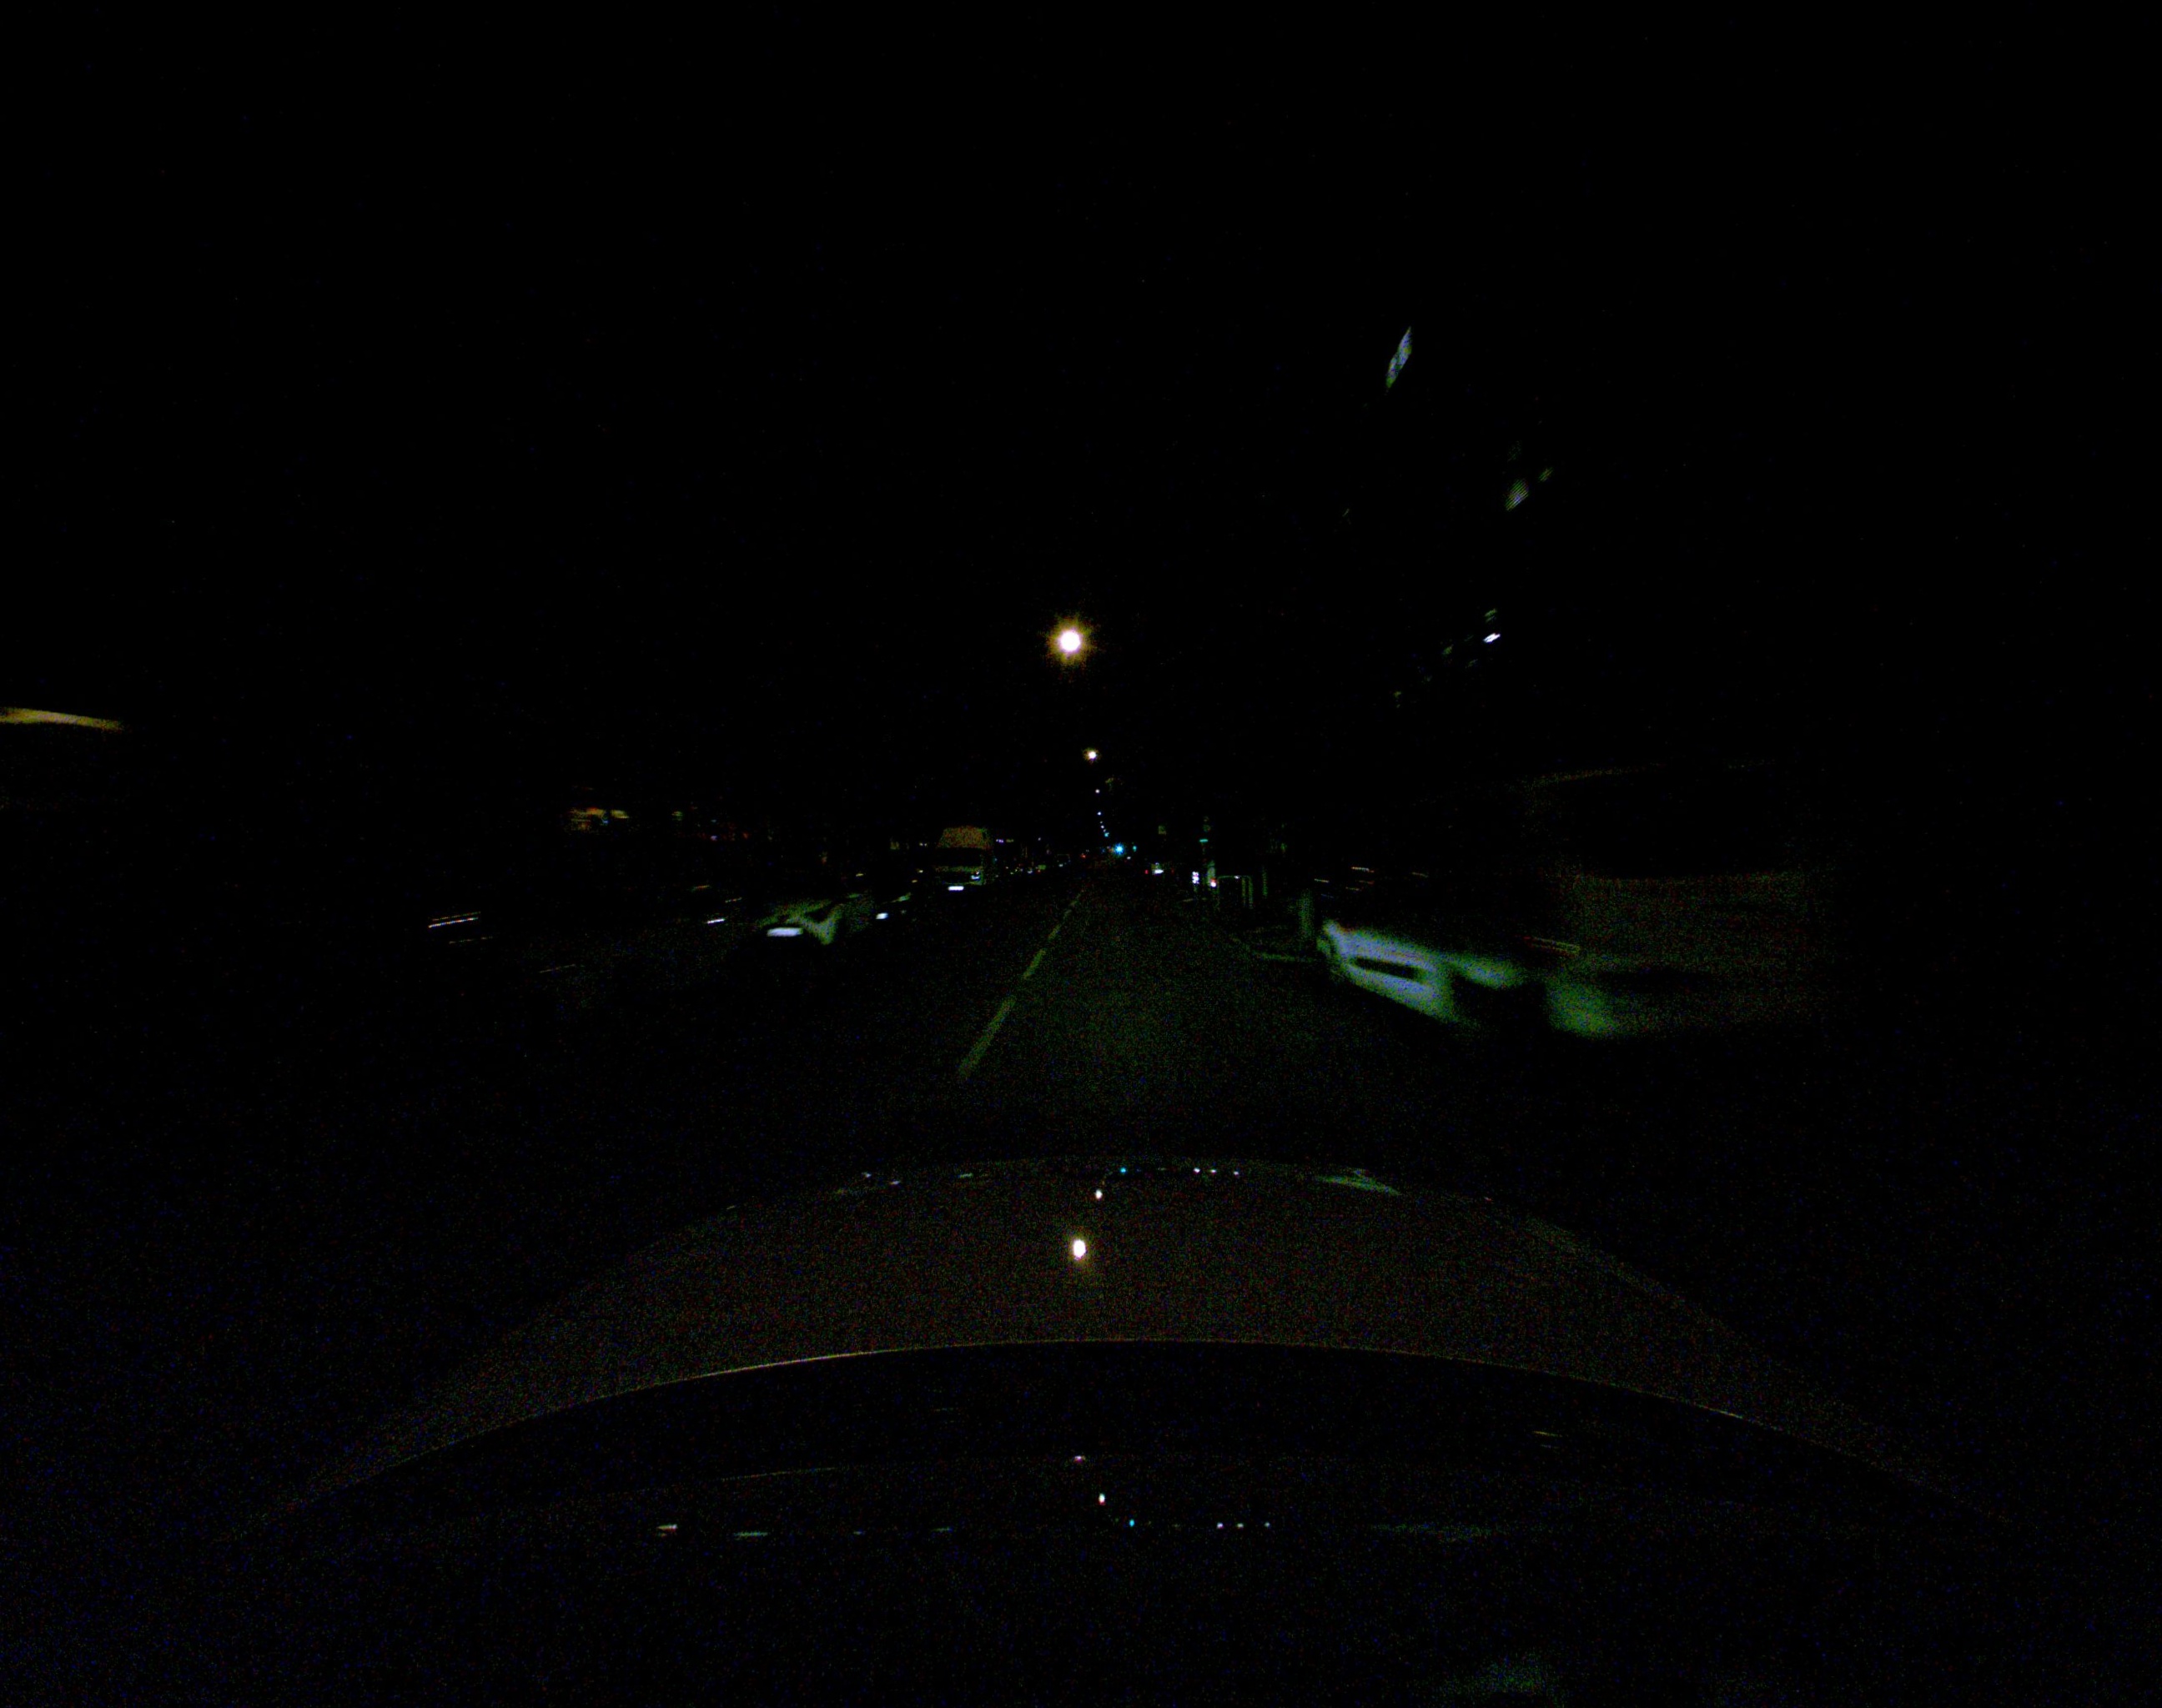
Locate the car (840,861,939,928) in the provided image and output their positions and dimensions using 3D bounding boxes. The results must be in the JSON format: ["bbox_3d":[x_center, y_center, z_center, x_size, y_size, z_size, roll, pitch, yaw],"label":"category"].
[{"bbox_3d":[-5.011,1.012,21.802,1.640,1.504,3.862,-1,1,1],"label":"car"}]

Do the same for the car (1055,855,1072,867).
[{"bbox_3d":[-2.126,0.826,98.896,1.693,1.433,3.831,1,0,3],"label":"car"}]

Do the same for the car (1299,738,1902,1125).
[{"bbox_3d":[3.407,0.406,6.672,1.944,1.964,4.603,-3,0,0],"label":"car"}]

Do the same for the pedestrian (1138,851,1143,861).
[{"bbox_3d":[10.459,0.390,142.708,0.702,1.721,0.822,-3,0,2],"label":"pedestrian"}]

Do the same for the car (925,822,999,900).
[{"bbox_3d":[-4.672,0.263,32.814,2.171,2.909,4.911,0,0,1],"label":"car"}]

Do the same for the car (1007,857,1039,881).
[{"bbox_3d":[-3.811,0.946,54.362,1.710,1.502,4.206,1,0,1],"label":"car"}]

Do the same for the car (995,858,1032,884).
[{"bbox_3d":[-4.008,0.981,49.326,1.698,1.411,4.635,-2,0,1],"label":"car"}]

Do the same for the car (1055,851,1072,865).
[{"bbox_3d":[-2.235,0.476,106.306,1.815,1.811,4.213,1,0,3],"label":"car"}]

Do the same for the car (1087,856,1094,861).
[{"bbox_3d":[2.576,1.213,227.224,1.734,1.416,3.754,-2,0,2],"label":"car"}]

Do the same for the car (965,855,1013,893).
[{"bbox_3d":[-4.274,0.898,38.360,1.736,1.606,4.117,0,1,1],"label":"car"}]

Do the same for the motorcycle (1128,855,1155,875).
[{"bbox_3d":[4.081,0.726,55.129,0.930,1.283,2.217,-2,0,-23],"label":"motorcycle"}]

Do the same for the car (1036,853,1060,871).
[{"bbox_3d":[-3.104,0.733,77.253,1.815,1.599,4.076,1,0,3],"label":"car"}]

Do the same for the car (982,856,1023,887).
[{"bbox_3d":[-4.175,0.899,43.843,1.736,1.606,4.297,0,0,0],"label":"car"}]

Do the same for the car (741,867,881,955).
[{"bbox_3d":[-5.079,1.020,15.766,1.542,1.455,3.369,0,0,1],"label":"car"}]

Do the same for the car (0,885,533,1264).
[{"bbox_3d":[-5.466,1.016,4.901,1.636,1.504,3.904,0,0,1],"label":"car"}]

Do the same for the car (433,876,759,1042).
[{"bbox_3d":[-5.339,1.039,9.623,1.439,1.429,3.904,1,0,1],"label":"car"}]

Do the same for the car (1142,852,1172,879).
[{"bbox_3d":[4.535,0.642,48.931,1.661,1.429,4.152,-4,0,4],"label":"car"}]

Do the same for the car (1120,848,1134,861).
[{"bbox_3d":[6.741,0.059,119.390,1.846,1.654,4.212,-4,0,2],"label":"car"}]

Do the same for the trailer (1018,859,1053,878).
[{"bbox_3d":[-3.419,1.105,62.038,2.102,1.335,5.439,1,0,3],"label":"trailer"}]
